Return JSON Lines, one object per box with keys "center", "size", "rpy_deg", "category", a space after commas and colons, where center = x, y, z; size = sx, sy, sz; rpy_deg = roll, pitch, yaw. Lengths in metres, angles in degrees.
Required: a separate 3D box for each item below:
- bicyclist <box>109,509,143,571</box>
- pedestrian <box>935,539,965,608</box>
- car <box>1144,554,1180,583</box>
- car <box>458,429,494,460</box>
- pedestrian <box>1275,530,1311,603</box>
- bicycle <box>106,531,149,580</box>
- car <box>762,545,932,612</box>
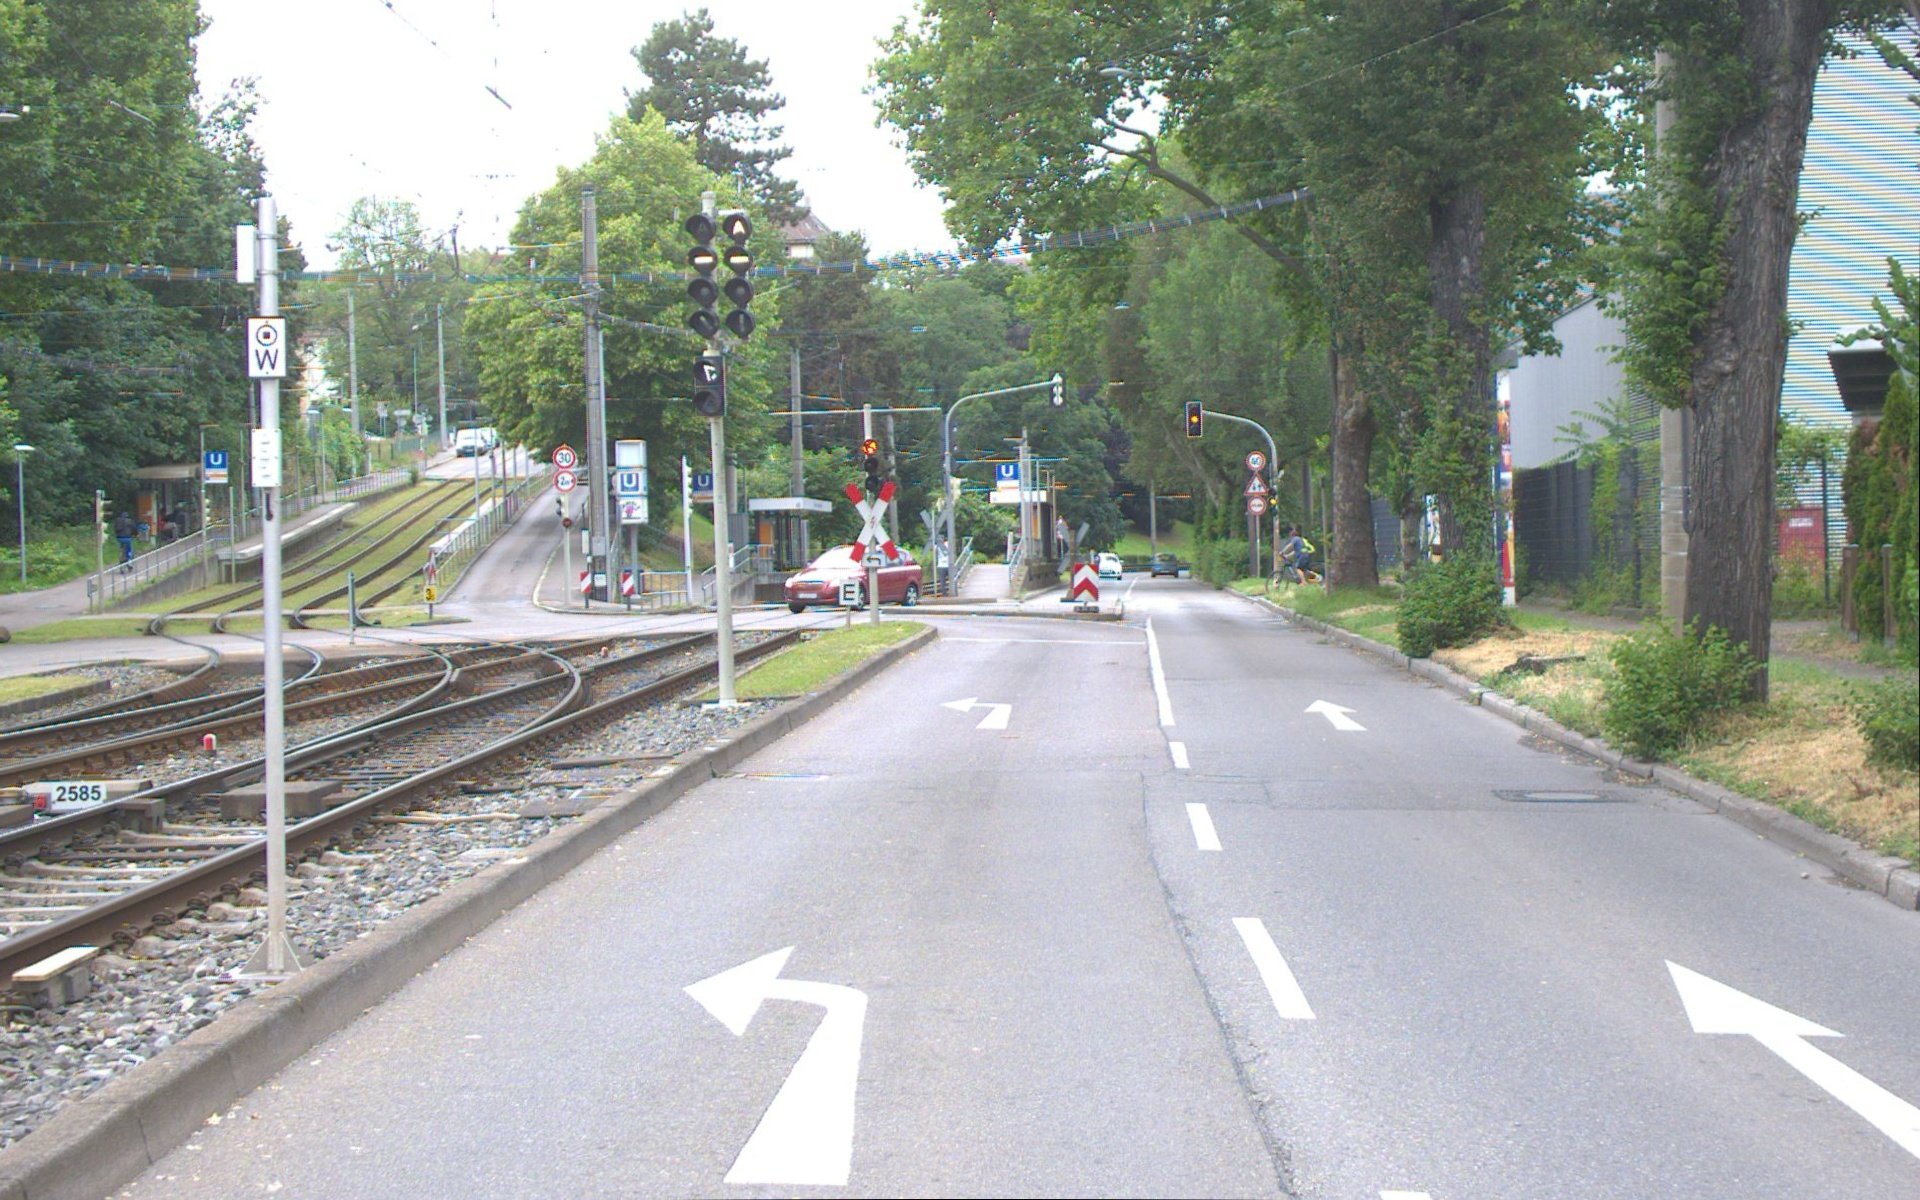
{"center": [-25.517, -1.840, 105.175], "size": [0.821, 1.842, 1.052], "rpy_deg": [-1, 3, -5], "category": "bicyclist"}
{"center": [-0.274, -0.716, 92.869], "size": [0.768, 1.846, 0.910], "rpy_deg": [-1, 0, 0], "category": "pedestrian"}
{"center": [13.087, -2.040, 222.819], "size": [1.993, 1.809, 4.000], "rpy_deg": [-2, 1, -1], "category": "car"}
{"center": [-34.273, -11.010, 243.584], "size": [1.993, 2.007, 4.000], "rpy_deg": [-2, 1, -1], "category": "car"}
{"center": [9.350, -0.937, 96.477], "size": [0.931, 2.007, 0.668], "rpy_deg": [-1, 0, 9], "category": "pedestrian"}
{"center": [-25.537, -1.371, 105.454], "size": [0.824, 1.338, 2.997], "rpy_deg": [-2, 4, -5], "category": "bicycle"}
{"center": [-2.604, -0.530, 80.313], "size": [1.996, 1.510, 4.494], "rpy_deg": [0, 1, 28], "category": "car"}
